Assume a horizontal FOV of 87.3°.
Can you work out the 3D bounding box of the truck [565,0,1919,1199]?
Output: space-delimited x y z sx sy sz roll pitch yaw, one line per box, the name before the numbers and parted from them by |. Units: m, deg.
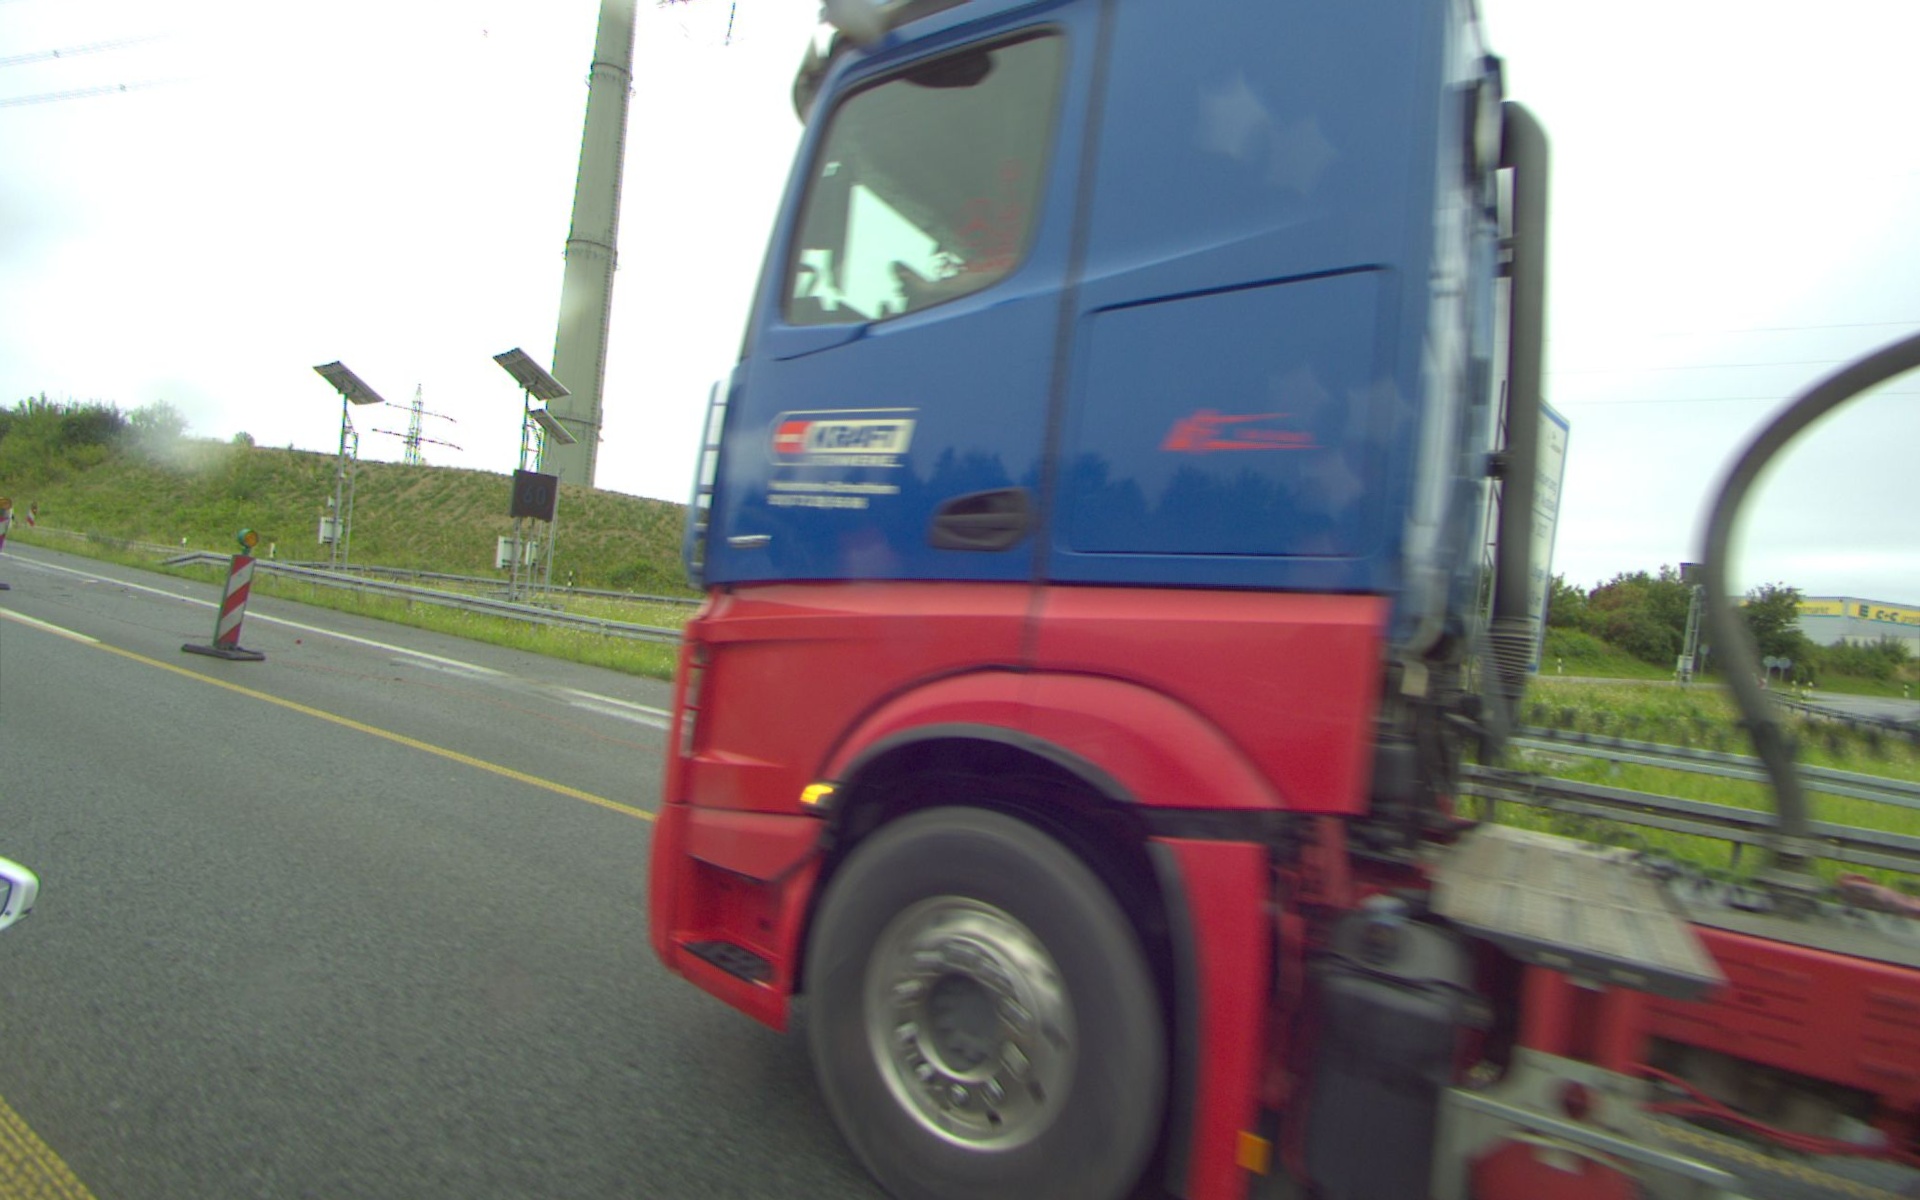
truck | 1.338 -0.334 3.121 3.935 3.993 2.552 6 -1 32
